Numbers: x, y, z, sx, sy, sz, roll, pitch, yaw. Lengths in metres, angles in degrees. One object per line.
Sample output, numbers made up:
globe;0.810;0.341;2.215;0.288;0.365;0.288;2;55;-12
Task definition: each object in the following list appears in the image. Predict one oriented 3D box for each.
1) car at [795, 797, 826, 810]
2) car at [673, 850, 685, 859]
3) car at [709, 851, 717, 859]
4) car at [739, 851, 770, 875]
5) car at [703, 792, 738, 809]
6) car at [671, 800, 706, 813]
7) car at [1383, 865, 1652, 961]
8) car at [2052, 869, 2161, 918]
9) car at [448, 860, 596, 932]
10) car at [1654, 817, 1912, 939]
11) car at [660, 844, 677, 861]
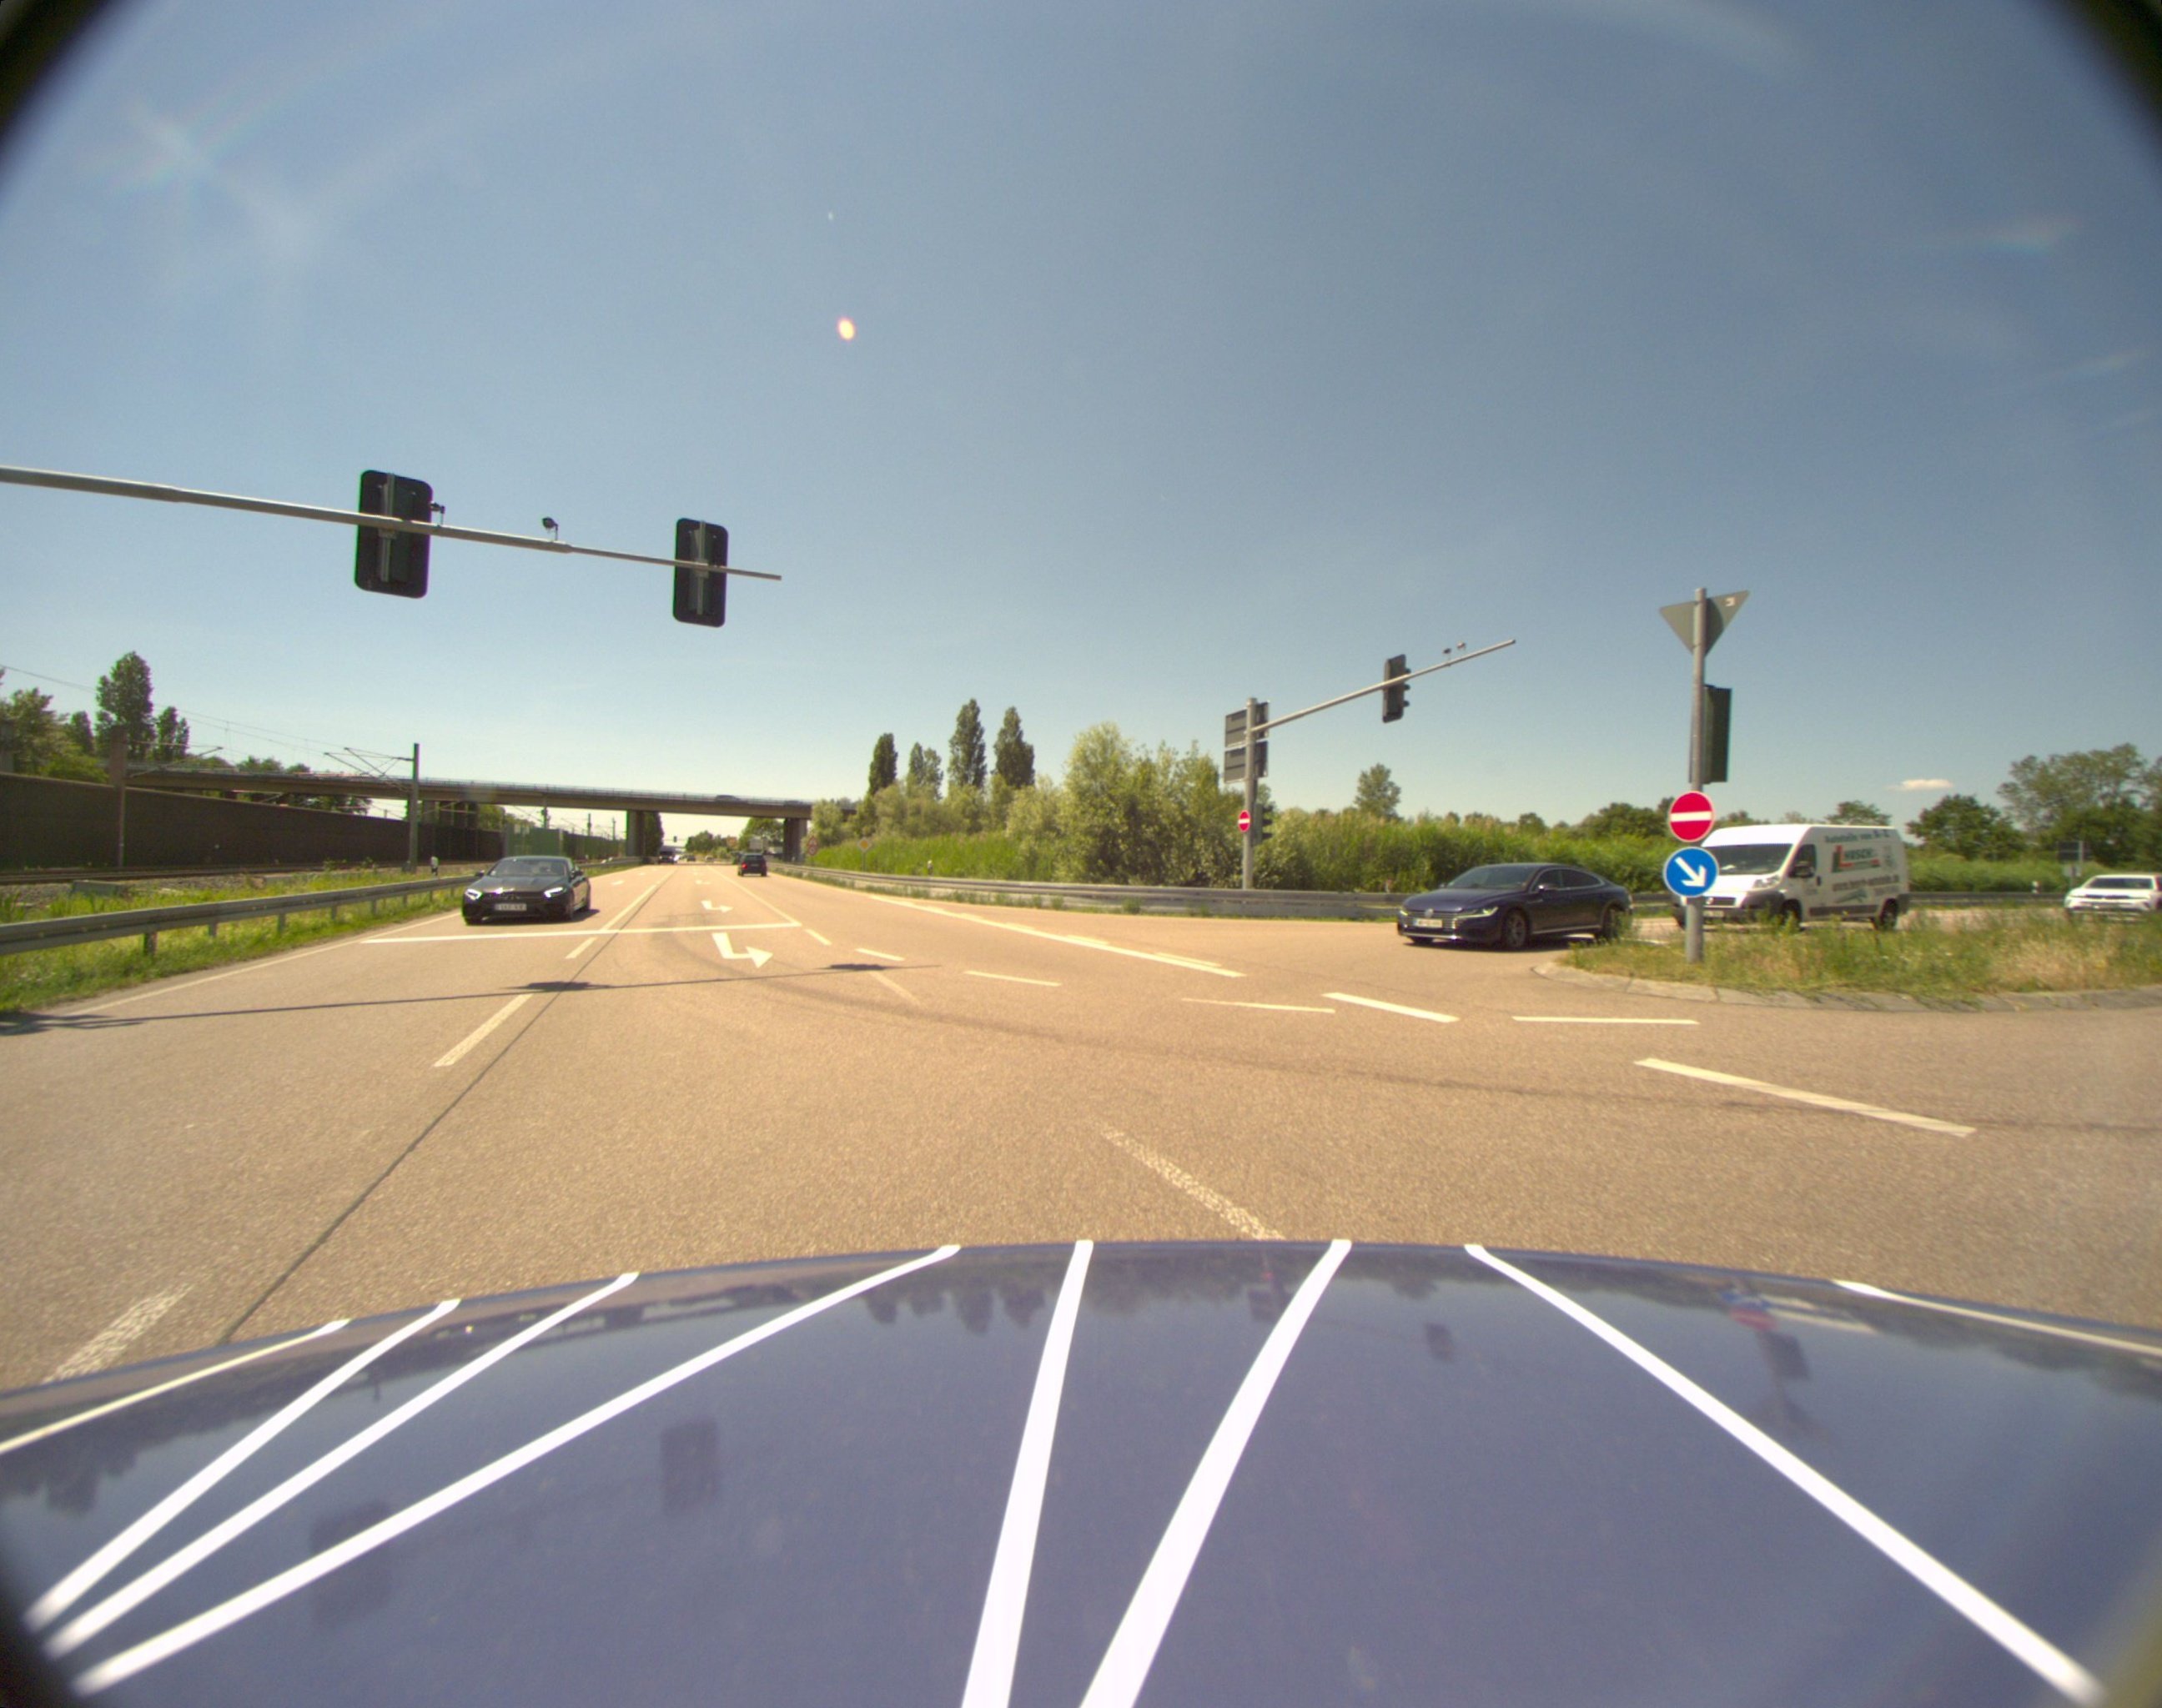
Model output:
car;-43.200;-8.049;121.270;4.653;1.780;1.909;0;1;-22
car;-72.761;0.102;137.435;1.847;1.680;3.991;1;0;-26
car;-77.954;0.187;160.892;1.592;1.553;3.679;-1;1;-26
car;-22.487;0.587;52.282;1.646;1.587;3.553;0;0;-29
car;-53.845;-7.987;113.560;4.653;2.427;1.909;0;1;-22
car;-59.386;-7.145;115.064;4.653;1.780;1.909;0;1;-23
car;7.582;0.928;13.136;4.569;1.414;1.845;1;-1;-27
car;33.166;1.246;24.263;3.965;1.427;1.718;1;0;-24
car;-12.653;0.860;17.523;1.916;1.356;4.637;-1;0;-26
car;16.322;0.571;17.625;5.990;2.480;2.225;1;-1;-24
car;-59.607;-0.213;109.840;1.916;2.427;4.637;-1;1;-26
